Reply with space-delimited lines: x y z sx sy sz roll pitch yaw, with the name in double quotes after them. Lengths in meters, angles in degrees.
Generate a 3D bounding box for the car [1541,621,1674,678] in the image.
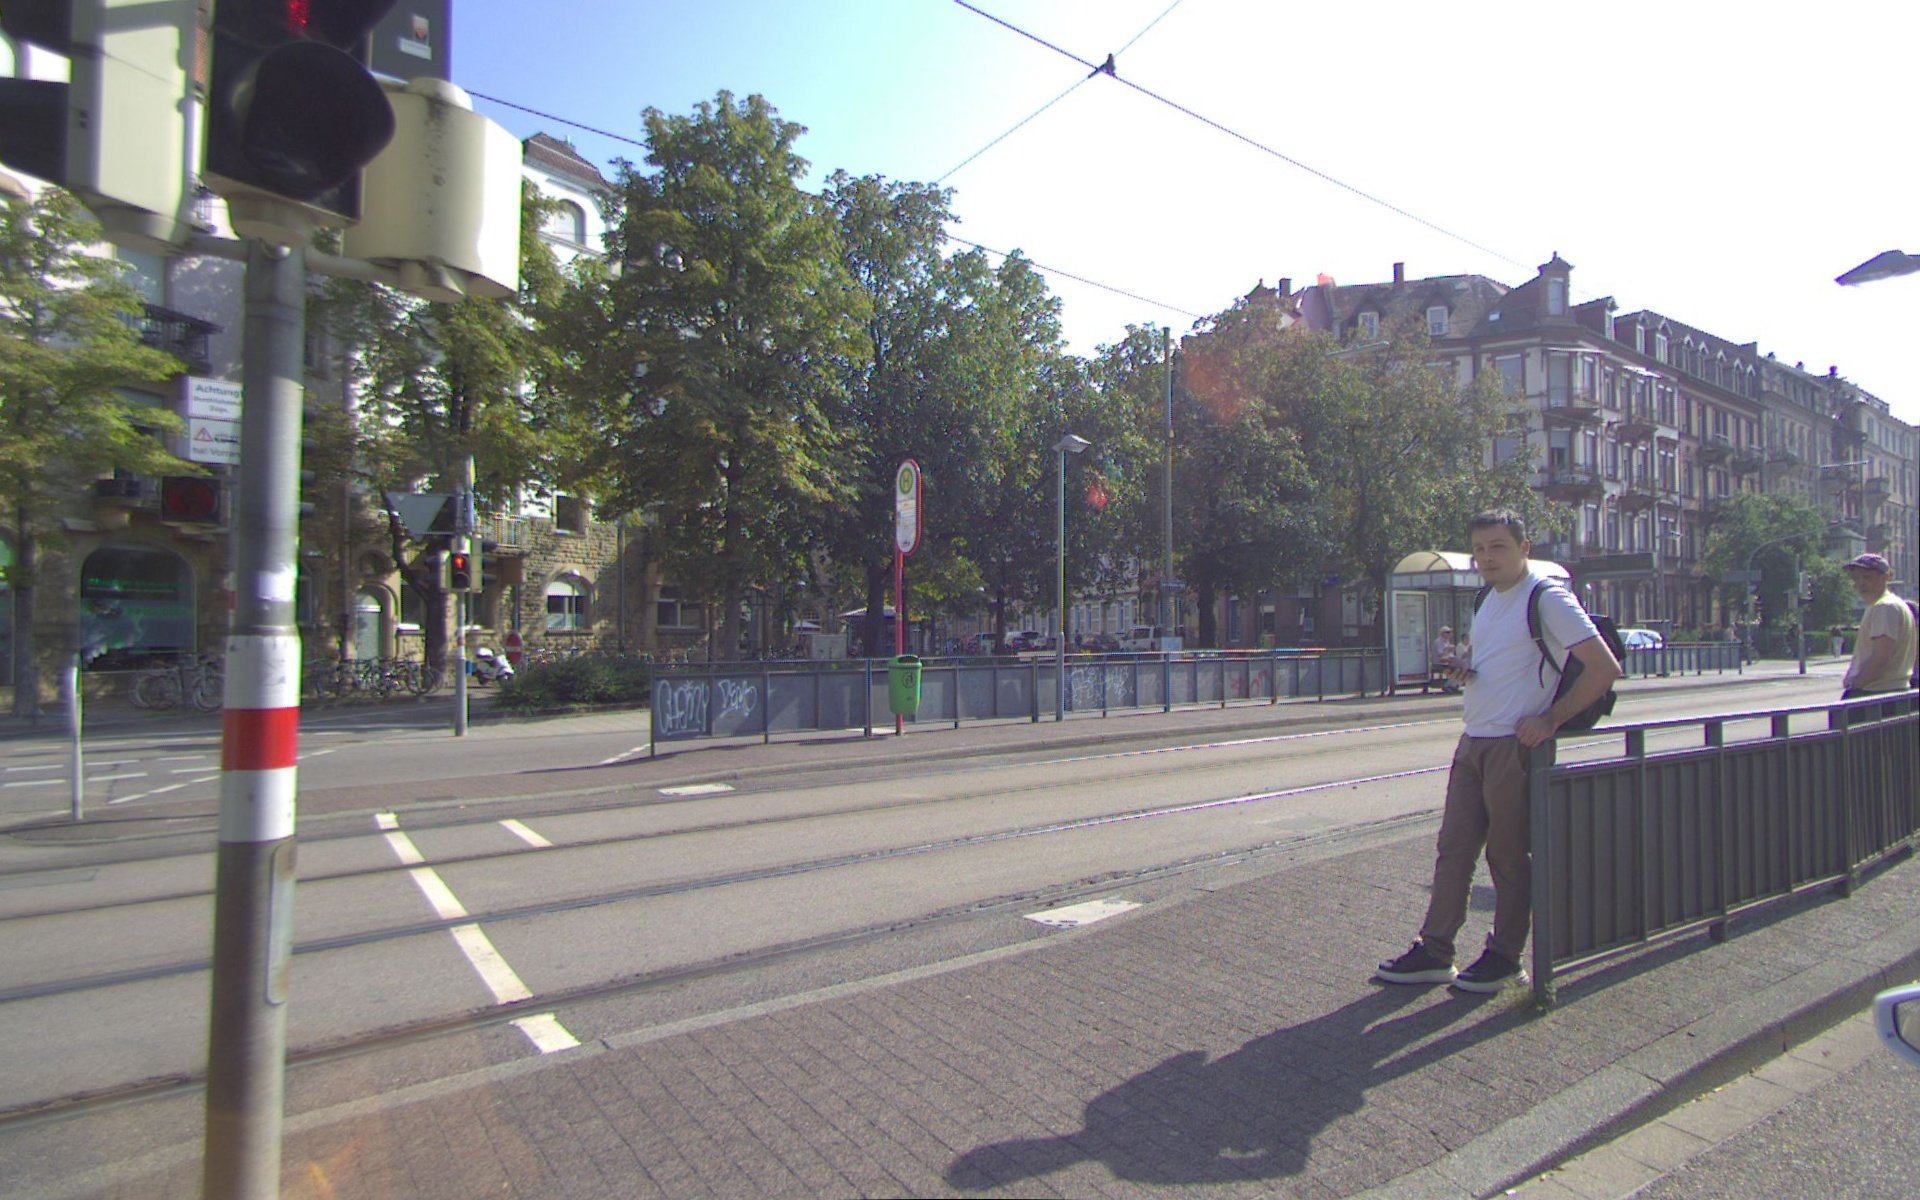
20.354 1.523 31.512 4.437 1.672 1.981 1 -3 -35 "car"

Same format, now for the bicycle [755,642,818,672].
-6.685 2.169 38.717 2.313 1.118 0.765 2 -2 -39 "bicycle"

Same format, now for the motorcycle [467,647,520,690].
-13.775 1.998 29.646 1.855 1.193 0.675 0 -2 39 "motorcycle"

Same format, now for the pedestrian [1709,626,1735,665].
36.120 2.163 47.611 1.083 1.830 0.722 1 -2 -38 "pedestrian"

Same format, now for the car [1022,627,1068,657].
6.115 3.024 72.766 2.044 2.043 4.581 0 -2 -13 "car"

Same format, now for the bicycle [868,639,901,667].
-3.191 2.219 42.367 0.648 1.118 2.078 1 -2 -28 "bicycle"

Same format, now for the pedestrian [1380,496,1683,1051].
2.119 0.554 3.745 0.730 1.794 0.724 -2 1 -33 "pedestrian"

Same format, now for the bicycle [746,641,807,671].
-7.159 2.185 39.305 2.313 1.118 0.649 2 -2 -39 "bicycle"

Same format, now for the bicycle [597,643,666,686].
-11.160 2.179 34.141 2.260 1.389 0.867 -1 -2 25 "bicycle"

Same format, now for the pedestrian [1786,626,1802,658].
43.985 2.202 52.973 0.629 1.700 0.630 -2 -2 42 "pedestrian"

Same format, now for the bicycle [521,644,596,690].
-12.646 2.088 31.621 2.260 1.389 0.867 -1 -2 25 "bicycle"

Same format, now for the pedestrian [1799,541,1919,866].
5.544 0.593 6.043 0.669 1.826 0.555 1 -2 -33 "pedestrian"

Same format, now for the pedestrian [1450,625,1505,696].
11.033 1.285 21.441 0.711 1.475 0.787 1 -2 -35 "pedestrian"

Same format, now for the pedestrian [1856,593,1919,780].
8.911 0.787 9.330 0.803 1.676 0.863 -2 -2 40 "pedestrian"

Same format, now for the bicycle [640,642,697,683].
-10.285 2.199 35.435 2.270 1.389 0.863 -2 -3 42 "bicycle"

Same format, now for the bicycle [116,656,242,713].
-16.040 1.714 20.635 2.294 1.093 0.697 0 -2 11 "bicycle"

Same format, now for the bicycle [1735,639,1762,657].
39.553 2.425 50.388 1.809 0.871 0.523 1 -2 -34 "bicycle"

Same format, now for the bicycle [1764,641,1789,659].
42.097 2.575 51.781 1.684 0.871 0.523 1 -2 -34 "bicycle"

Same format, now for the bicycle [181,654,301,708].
-15.573 1.744 21.761 2.294 1.093 0.697 0 -2 11 "bicycle"

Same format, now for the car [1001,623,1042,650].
4.828 2.907 79.261 2.044 2.043 4.581 0 -2 -13 "car"

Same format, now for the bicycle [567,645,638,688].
-11.720 2.166 32.937 2.260 1.389 0.867 -1 -2 25 "bicycle"

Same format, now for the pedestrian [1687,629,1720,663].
35.563 2.184 48.082 0.927 1.591 0.842 0 -2 -3 "pedestrian"

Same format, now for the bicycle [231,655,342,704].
-15.652 1.837 23.354 2.294 1.093 0.697 -1 -2 11 "bicycle"

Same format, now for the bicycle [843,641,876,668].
-4.191 2.254 41.818 0.648 1.118 2.078 1 -2 -28 "bicycle"

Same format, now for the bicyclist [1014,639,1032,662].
4.381 3.484 69.635 0.981 1.531 1.111 1 -1 -14 "bicyclist"

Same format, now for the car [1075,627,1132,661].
8.953 2.742 63.259 2.044 2.043 4.581 0 -2 -13 "car"

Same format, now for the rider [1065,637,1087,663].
7.056 3.043 61.139 0.981 1.531 1.111 1 -1 -14 "rider"

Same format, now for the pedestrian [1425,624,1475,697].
10.157 1.236 20.826 0.711 1.475 0.672 1 -2 -36 "pedestrian"

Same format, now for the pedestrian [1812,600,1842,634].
46.236 0.907 53.540 1.173 1.789 0.900 1 -2 -33 "pedestrian"

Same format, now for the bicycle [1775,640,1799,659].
43.454 2.584 52.769 1.684 0.939 0.523 1 -2 -34 "bicycle"

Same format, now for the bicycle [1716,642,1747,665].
36.282 2.497 47.211 2.130 1.020 0.614 1 -2 -37 "bicycle"

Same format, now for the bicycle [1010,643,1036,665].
4.348 3.732 69.664 0.981 1.474 2.877 1 -1 -13 "bicycle"

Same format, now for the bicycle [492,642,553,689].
-13.265 1.962 30.426 2.271 1.389 0.863 -2 -3 43 "bicycle"

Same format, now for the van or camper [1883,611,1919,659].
56.344 2.069 58.488 6.017 2.679 2.041 2 -3 -30 "van or camper"

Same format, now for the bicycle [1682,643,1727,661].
36.167 2.520 48.807 1.791 0.871 0.528 0 -2 2 "bicycle"

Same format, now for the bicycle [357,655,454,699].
-14.370 1.993 26.054 2.294 1.093 0.697 -1 -2 11 "bicycle"

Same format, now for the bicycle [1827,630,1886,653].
59.072 2.701 66.202 0.990 1.474 2.848 1 -2 -42 "bicycle"

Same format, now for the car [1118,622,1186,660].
10.600 2.283 55.830 2.044 2.043 4.581 0 -2 -13 "car"

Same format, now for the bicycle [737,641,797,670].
-7.653 2.196 39.885 2.313 1.118 0.649 2 -2 -39 "bicycle"

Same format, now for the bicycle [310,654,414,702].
-14.617 1.895 24.566 2.294 1.093 0.697 0 -2 11 "bicycle"
